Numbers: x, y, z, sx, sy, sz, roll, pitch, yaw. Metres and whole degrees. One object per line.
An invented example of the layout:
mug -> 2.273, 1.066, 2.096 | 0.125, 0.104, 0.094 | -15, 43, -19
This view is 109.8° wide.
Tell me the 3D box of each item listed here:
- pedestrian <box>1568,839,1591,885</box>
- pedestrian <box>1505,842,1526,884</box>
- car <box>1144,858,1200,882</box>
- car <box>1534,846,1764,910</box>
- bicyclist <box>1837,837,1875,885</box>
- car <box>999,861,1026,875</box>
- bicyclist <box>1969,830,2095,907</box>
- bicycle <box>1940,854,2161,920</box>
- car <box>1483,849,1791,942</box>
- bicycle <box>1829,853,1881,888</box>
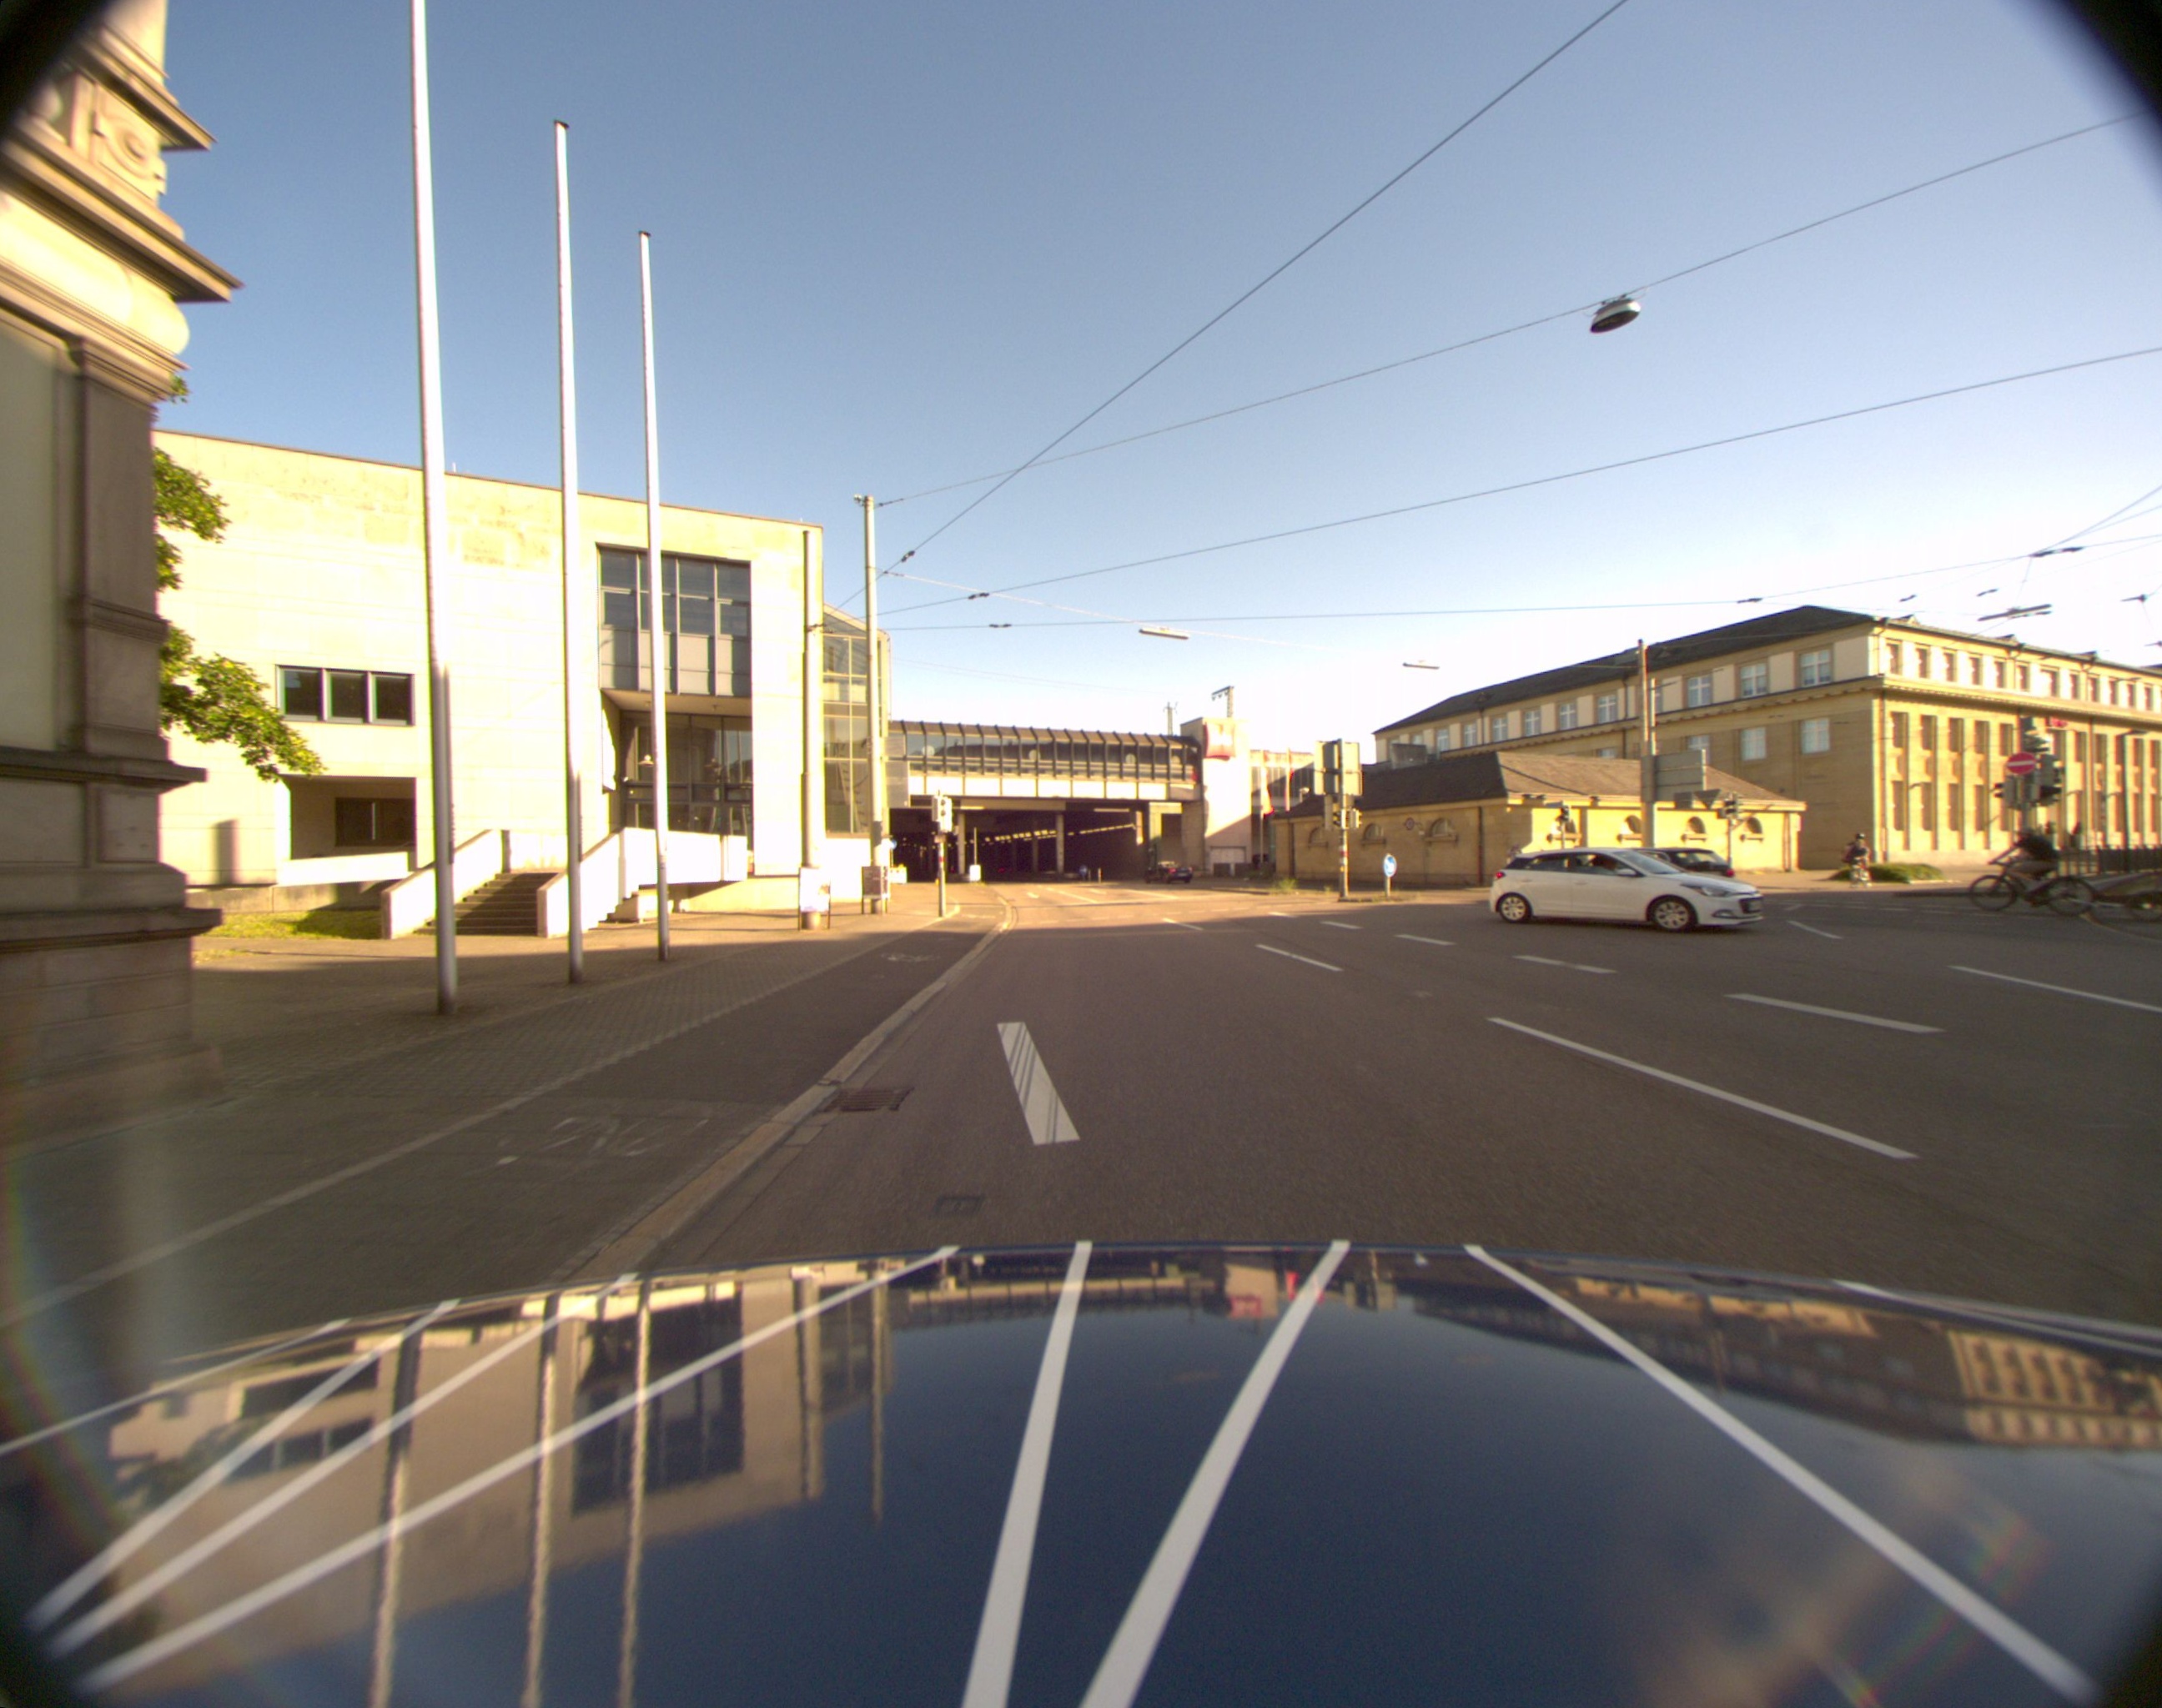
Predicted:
pedestrian -> 18.195, 0.291, 27.730 | 0.624, 1.630, 0.490 | -1, 1, 42
pedestrian -> 17.001, 0.345, 29.733 | 0.624, 1.630, 0.516 | -1, 1, 42
car -> 5.652, 0.983, 47.844 | 1.831, 1.417, 4.321 | -1, 0, -17
car -> 13.947, 0.533, 19.087 | 2.000, 1.384, 4.558 | -1, 0, -8
bicyclist -> 27.296, 0.234, 26.764 | 0.941, 1.630, 0.676 | -2, 1, -26
car -> -7.479, 1.493, 82.526 | 1.818, 1.382, 4.240 | -1, 0, -21
bicyclist -> 17.935, 0.271, 14.364 | 0.936, 1.374, 1.148 | -1, 0, 2
bicycle -> 17.905, 0.538, 13.777 | 0.936, 1.050, 3.355 | -1, 0, 2
car -> 9.743, 0.645, 13.669 | 1.795, 1.385, 4.095 | -1, 0, -32
bicycle -> 27.262, 0.564, 26.754 | 2.076, 1.129, 0.684 | -3, 1, -27
